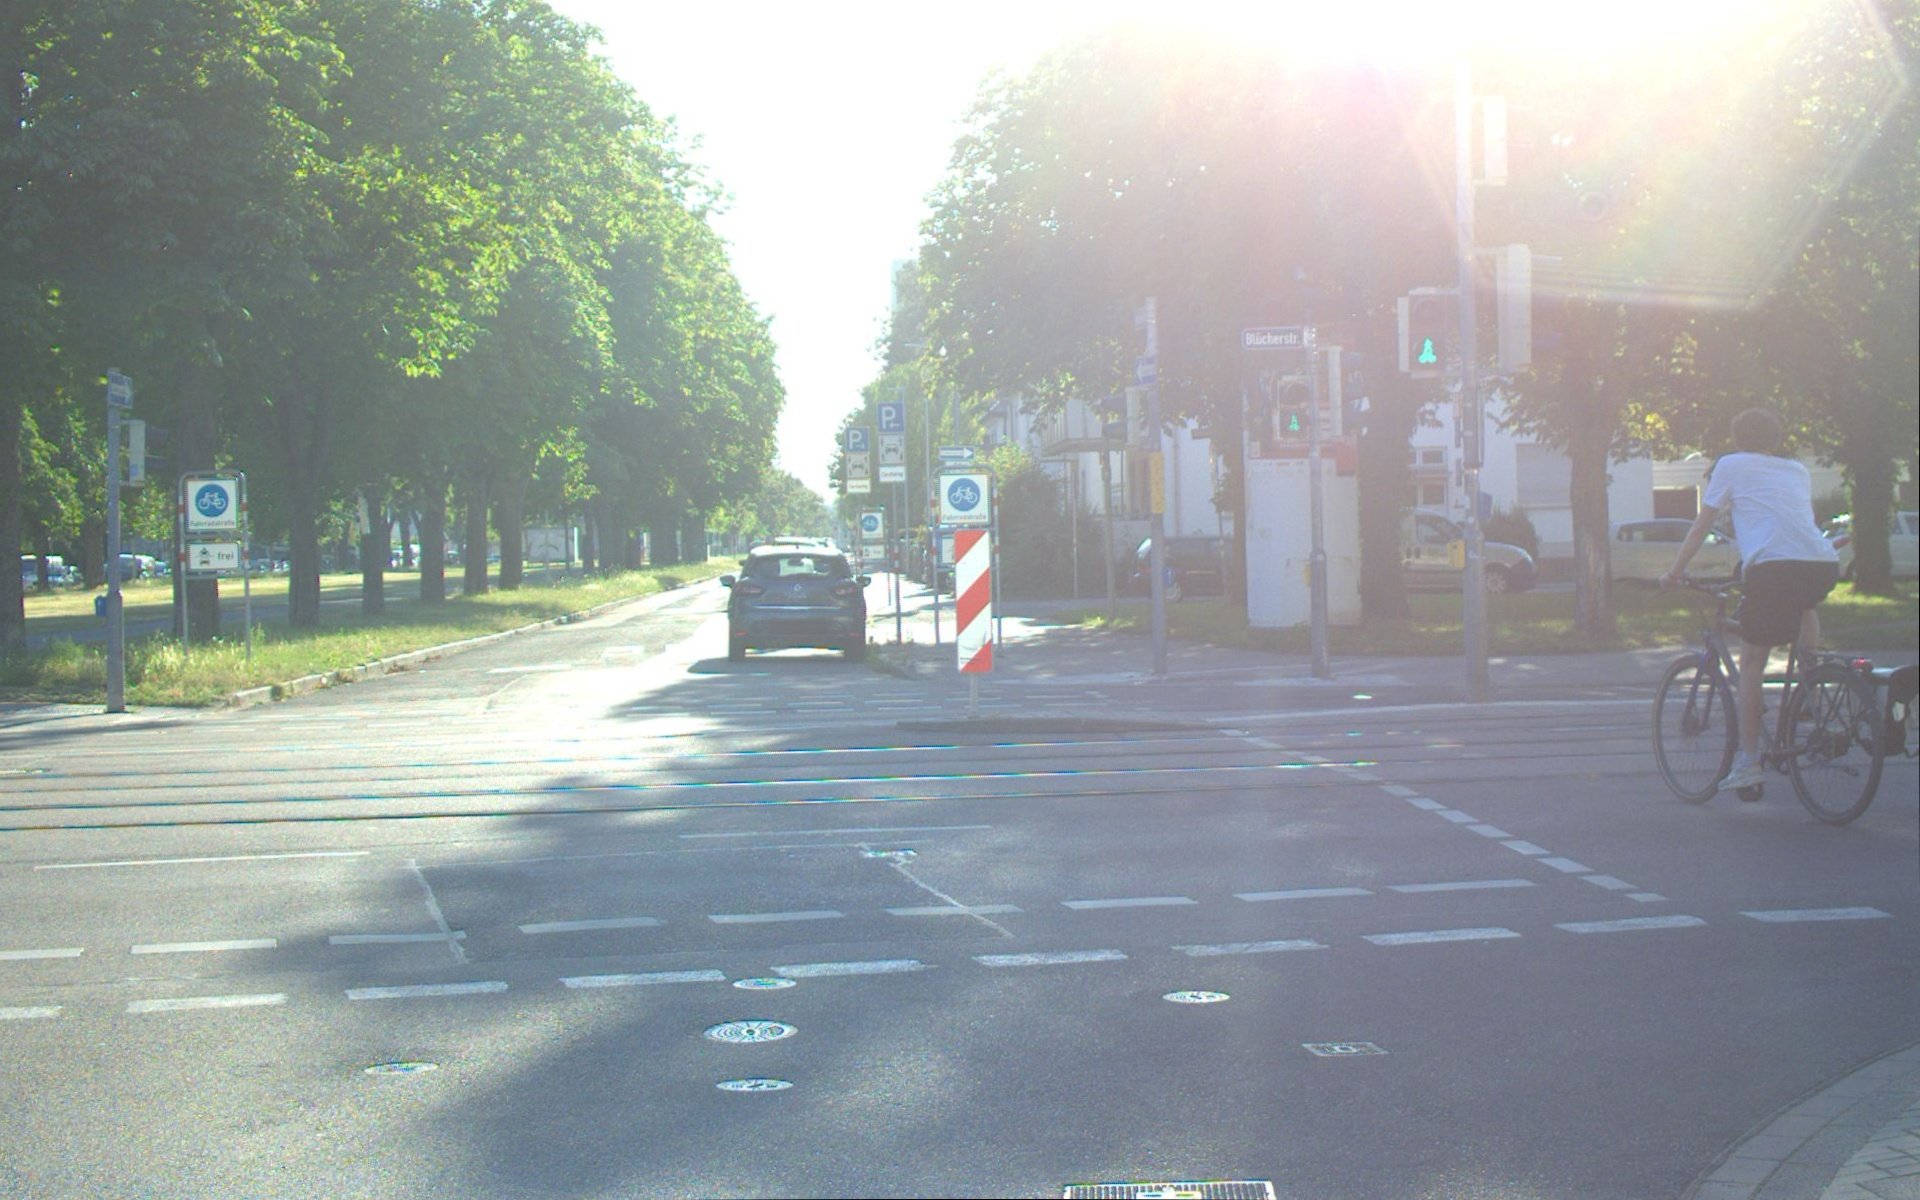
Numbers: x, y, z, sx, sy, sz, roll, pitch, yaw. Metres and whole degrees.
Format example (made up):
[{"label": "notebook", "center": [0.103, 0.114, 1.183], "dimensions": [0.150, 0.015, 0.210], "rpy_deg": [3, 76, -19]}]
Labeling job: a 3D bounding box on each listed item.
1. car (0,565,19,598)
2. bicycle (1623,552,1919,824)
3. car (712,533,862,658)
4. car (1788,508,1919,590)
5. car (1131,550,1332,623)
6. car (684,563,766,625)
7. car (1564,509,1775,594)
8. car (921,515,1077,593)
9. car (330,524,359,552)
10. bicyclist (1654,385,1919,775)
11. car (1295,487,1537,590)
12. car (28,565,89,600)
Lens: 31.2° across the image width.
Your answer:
[{"label": "car", "center": [-48.837, -0.934, 172.684], "dimensions": [1.993, 1.653, 4.355], "rpy_deg": [1, 0, -1]}, {"label": "bicycle", "center": [3.787, 0.375, 15.869], "dimensions": [0.572, 1.180, 1.906], "rpy_deg": [1, 0, -18]}, {"label": "car", "center": [-2.176, -0.059, 44.277], "dimensions": [1.725, 1.506, 4.541], "rpy_deg": [1, 0, -1]}, {"label": "car", "center": [17.969, -0.969, 65.554], "dimensions": [3.920, 1.518, 1.524], "rpy_deg": [0, -1, -7]}, {"label": "car", "center": [5.663, -0.284, 71.886], "dimensions": [3.986, 1.442, 1.716], "rpy_deg": [-1, 0, -2]}, {"label": "car", "center": [-5.289, -0.133, 77.858], "dimensions": [1.709, 1.355, 4.203], "rpy_deg": [1, 0, -2]}, {"label": "car", "center": [13.406, -0.913, 65.055], "dimensions": [3.552, 1.510, 1.606], "rpy_deg": [-1, 0, -7]}, {"label": "car", "center": [1.043, -1.245, 93.228], "dimensions": [3.986, 1.816, 1.760], "rpy_deg": [-2, -5, -6]}, {"label": "car", "center": [-45.440, -4.593, 253.734], "dimensions": [1.654, 1.932, 3.568], "rpy_deg": [1, -1, -3]}, {"label": "bicyclist", "center": [3.778, -0.086, 15.751], "dimensions": [0.814, 1.726, 0.894], "rpy_deg": [1, 0, -18]}, {"label": "car", "center": [8.613, -1.153, 65.247], "dimensions": [4.241, 1.868, 2.031], "rpy_deg": [-1, 0, -2]}, {"label": "car", "center": [-43.837, -0.858, 167.208], "dimensions": [2.022, 1.653, 3.984], "rpy_deg": [1, 0, -2]}]
